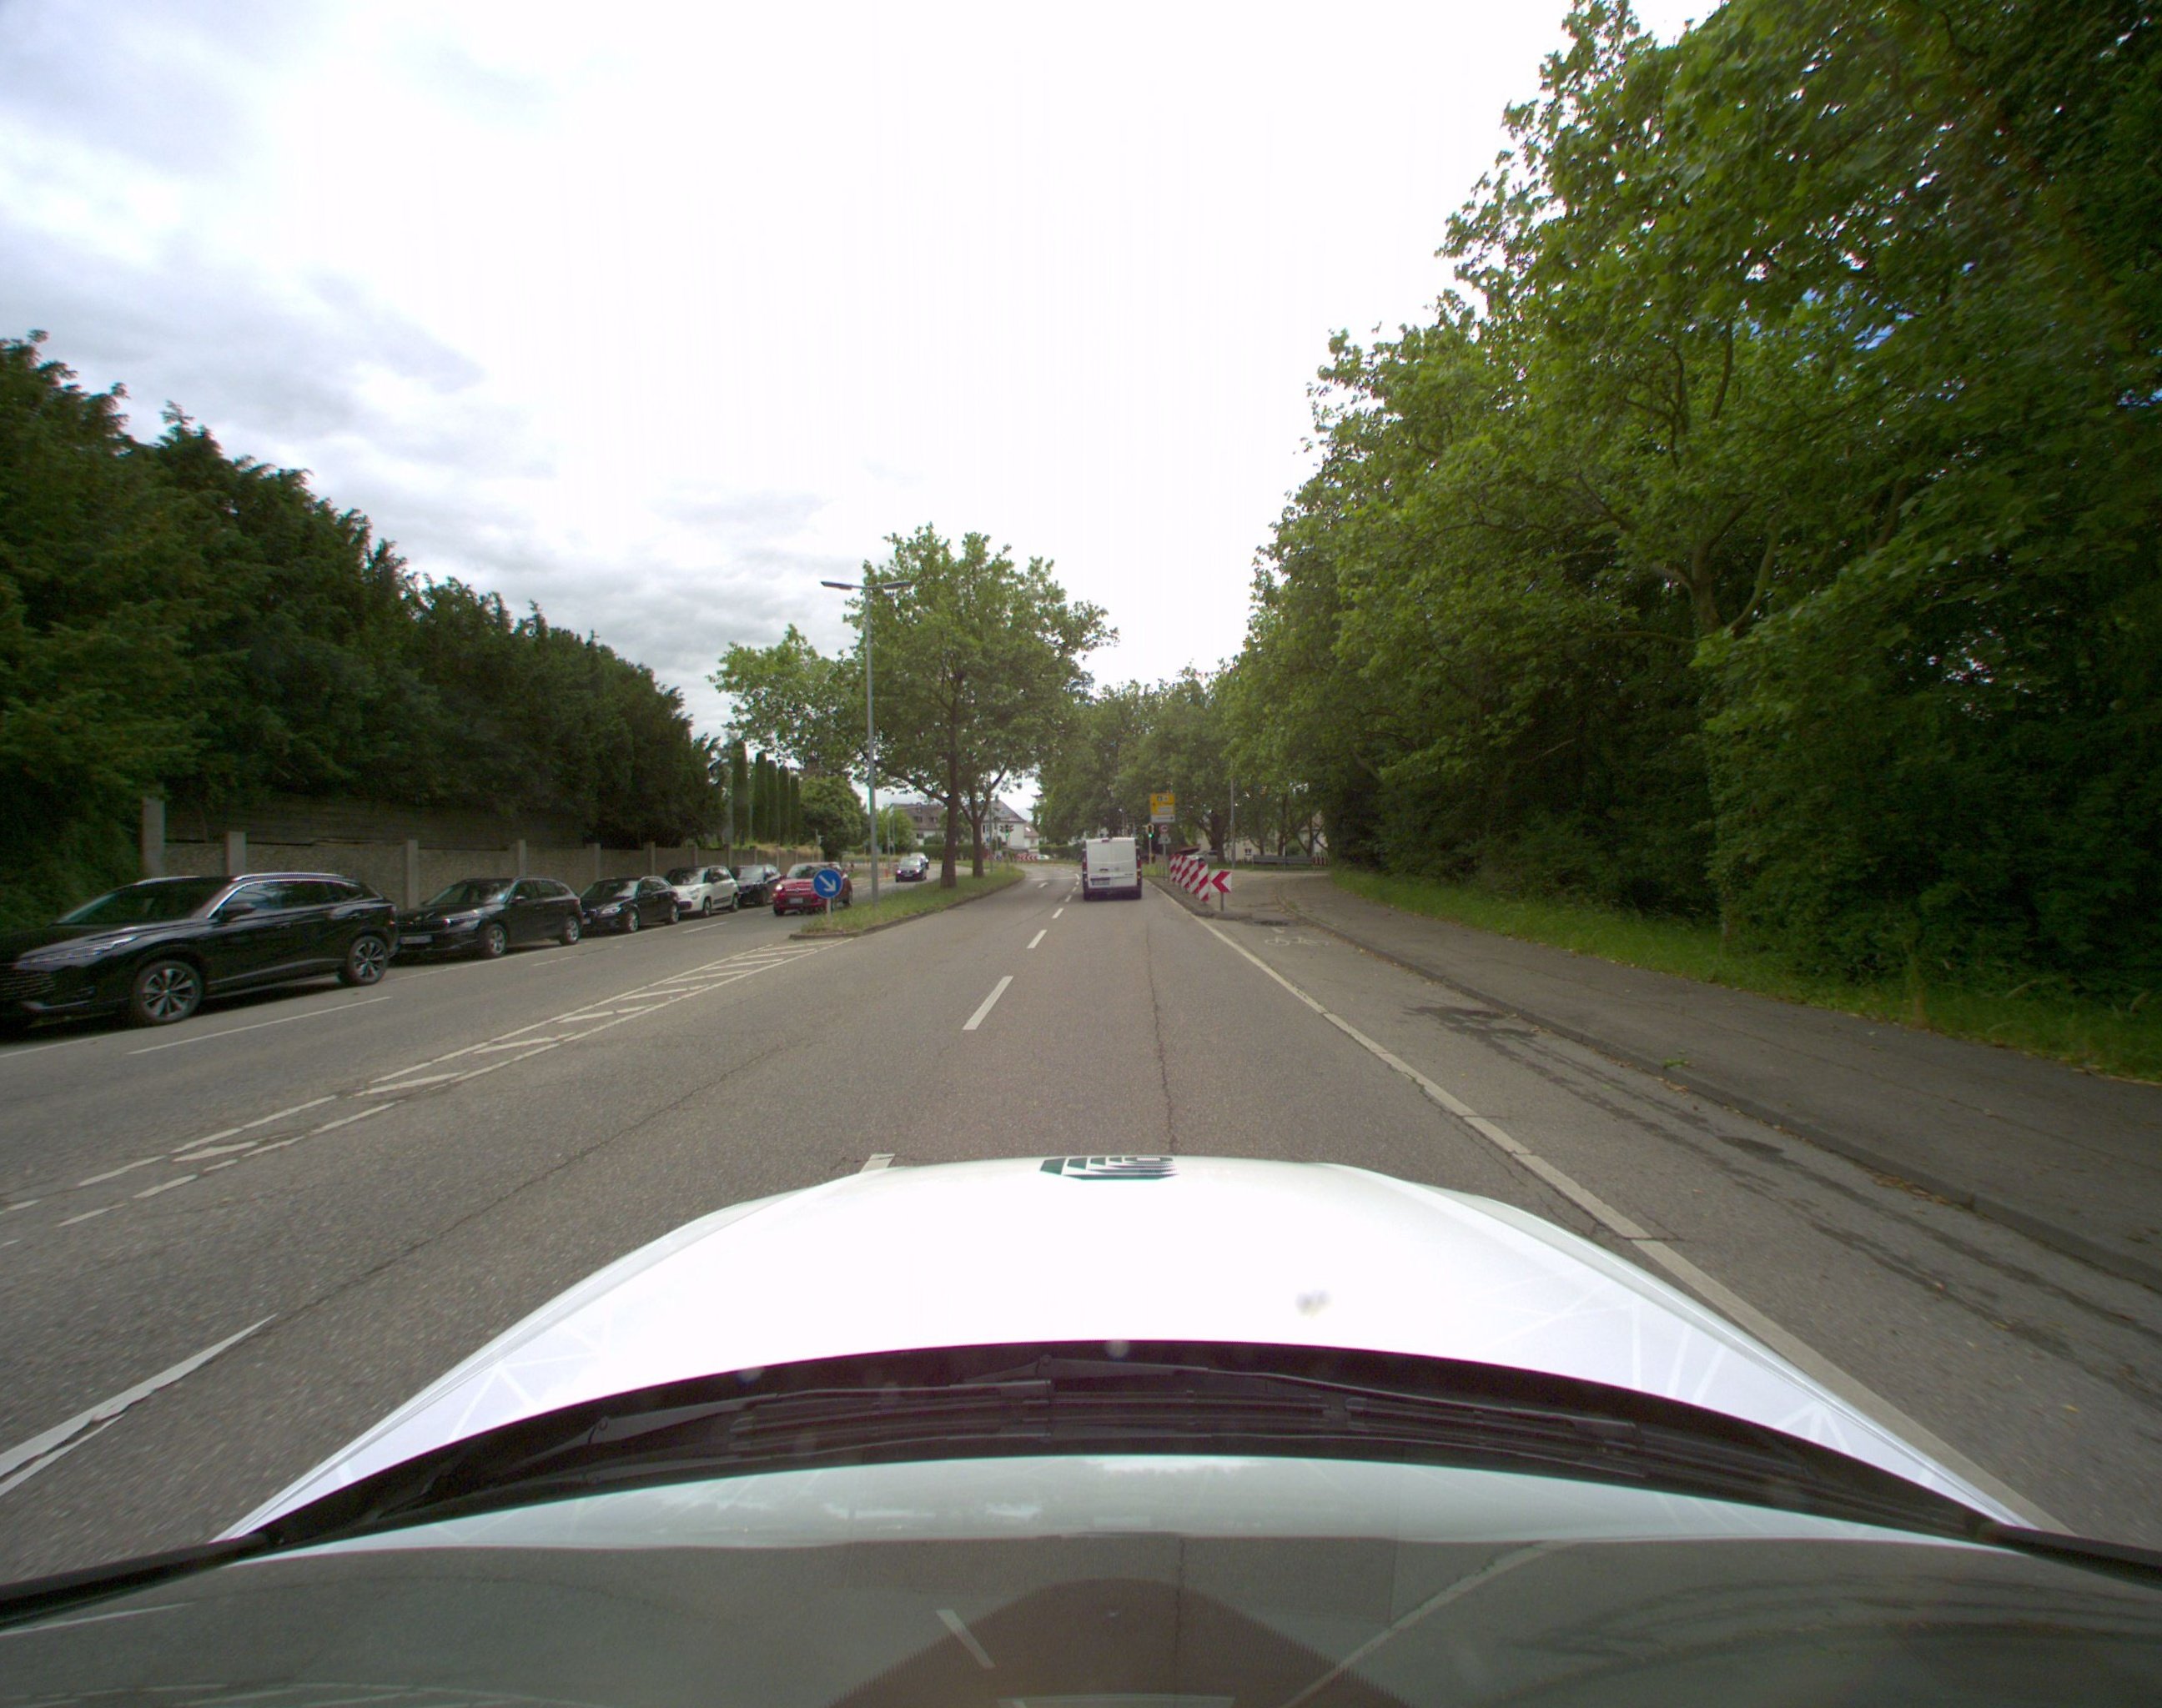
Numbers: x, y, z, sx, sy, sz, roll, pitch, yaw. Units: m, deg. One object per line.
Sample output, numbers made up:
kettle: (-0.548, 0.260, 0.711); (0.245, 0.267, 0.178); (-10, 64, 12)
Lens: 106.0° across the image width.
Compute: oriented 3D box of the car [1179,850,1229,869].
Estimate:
car: (12.129, 0.525, 80.317); (4.763, 1.769, 1.979); (-1, 0, -34)

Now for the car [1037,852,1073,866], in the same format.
car: (-3.601, 0.683, 112.781); (4.683, 1.769, 2.013); (-1, 0, 35)

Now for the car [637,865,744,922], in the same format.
car: (-12.589, 1.209, 26.542); (1.669, 1.592, 4.089); (-3, 0, -4)

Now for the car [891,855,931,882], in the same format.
car: (-10.948, 0.944, 52.747); (1.994, 1.587, 3.991); (-2, -1, -4)

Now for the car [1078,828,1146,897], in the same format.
car: (0.933, 0.296, 27.284); (2.000, 2.038, 5.008); (-2, -1, -1)

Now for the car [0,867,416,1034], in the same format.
car: (-11.162, 1.020, 10.372); (1.991, 1.643, 4.456); (-2, -1, -6)

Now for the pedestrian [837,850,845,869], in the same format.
pedestrian: (-25.750, 0.624, 87.274); (0.740, 2.013, 0.630); (1, 1, -15)

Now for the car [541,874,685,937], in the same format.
car: (-12.122, 1.278, 21.430); (1.645, 1.401, 4.214); (-1, -1, -5)

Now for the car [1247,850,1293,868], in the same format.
car: (19.900, 0.500, 85.505); (4.763, 1.769, 1.979); (-1, 0, -34)

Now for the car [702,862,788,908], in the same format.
car: (-13.019, 1.172, 31.846); (1.885, 1.625, 4.420); (-1, -1, -6)

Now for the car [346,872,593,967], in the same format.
car: (-11.815, 1.176, 16.163); (1.943, 1.511, 4.097); (-3, -1, -4)
